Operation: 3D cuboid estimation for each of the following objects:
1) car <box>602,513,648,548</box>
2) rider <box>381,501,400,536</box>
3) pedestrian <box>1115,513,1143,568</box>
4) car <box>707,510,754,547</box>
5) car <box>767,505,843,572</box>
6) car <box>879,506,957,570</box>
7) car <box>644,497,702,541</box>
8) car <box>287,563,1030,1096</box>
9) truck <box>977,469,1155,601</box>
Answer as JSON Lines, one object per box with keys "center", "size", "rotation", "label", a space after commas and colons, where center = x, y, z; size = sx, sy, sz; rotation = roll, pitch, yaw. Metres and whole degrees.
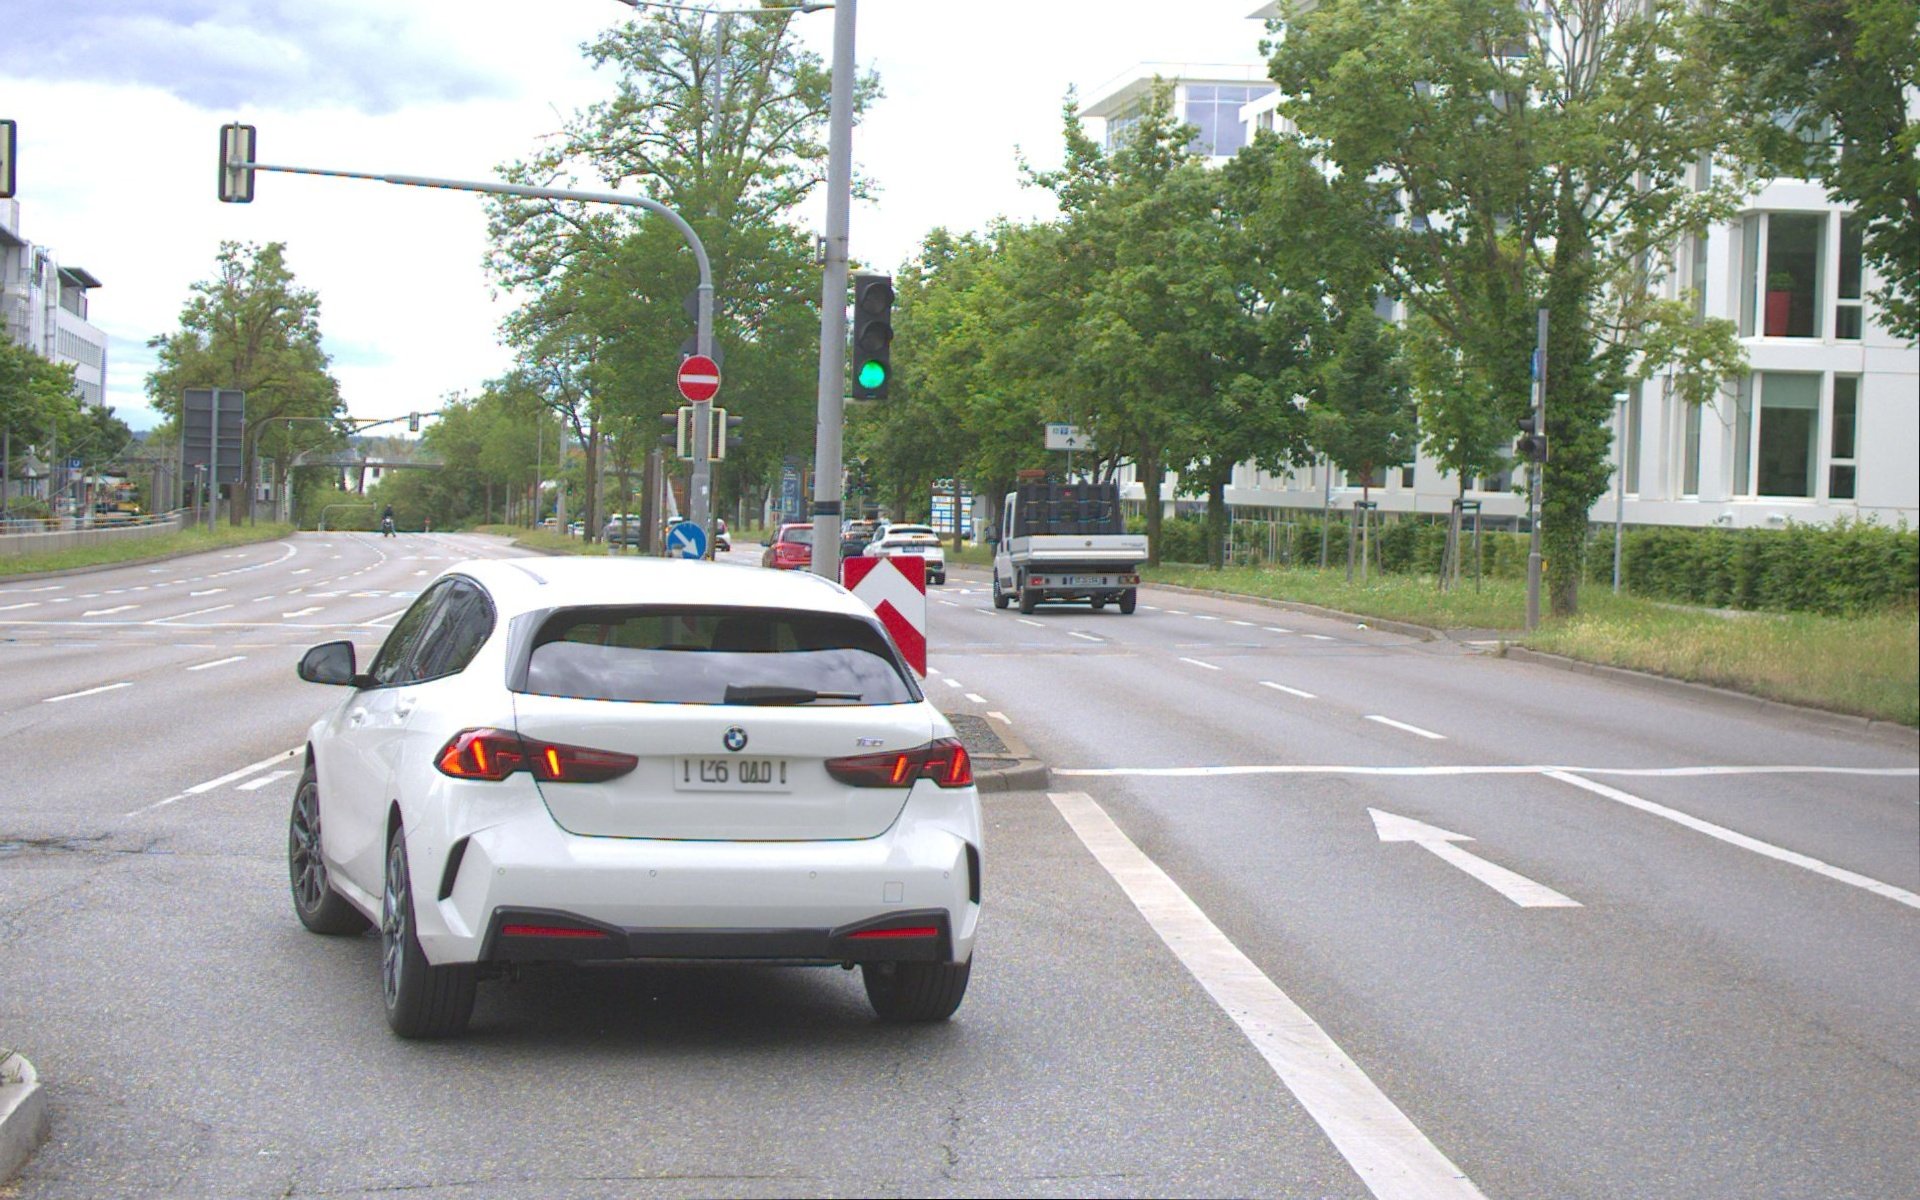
{"center": [-15.787, -3.294, 161.868], "size": [1.891, 1.590, 4.315], "rotation": [1, 1, -8], "label": "car"}
{"center": [-29.736, -4.257, 179.407], "size": [0.846, 1.765, 0.808], "rotation": [1, 0, -3], "label": "rider"}
{"center": [6.246, -2.199, 126.981], "size": [0.848, 2.007, 0.606], "rotation": [1, 1, -14], "label": "pedestrian"}
{"center": [-10.294, -3.194, 153.916], "size": [1.854, 1.590, 4.315], "rotation": [0, 1, -7], "label": "car"}
{"center": [-3.756, -1.479, 82.653], "size": [1.716, 1.553, 3.859], "rotation": [0, 1, -4], "label": "car"}
{"center": [-1.081, -1.562, 86.091], "size": [1.715, 1.550, 4.090], "rotation": [1, 1, -4], "label": "car"}
{"center": [-10.588, -2.982, 126.589], "size": [1.854, 1.590, 4.315], "rotation": [0, 1, -8], "label": "car"}
{"center": [-1.221, 0.645, 11.833], "size": [1.822, 1.433, 4.001], "rotation": [1, 1, -15], "label": "car"}
{"center": [1.827, -1.173, 61.416], "size": [2.211, 2.196, 5.846], "rotation": [1, 1, -8], "label": "truck"}
